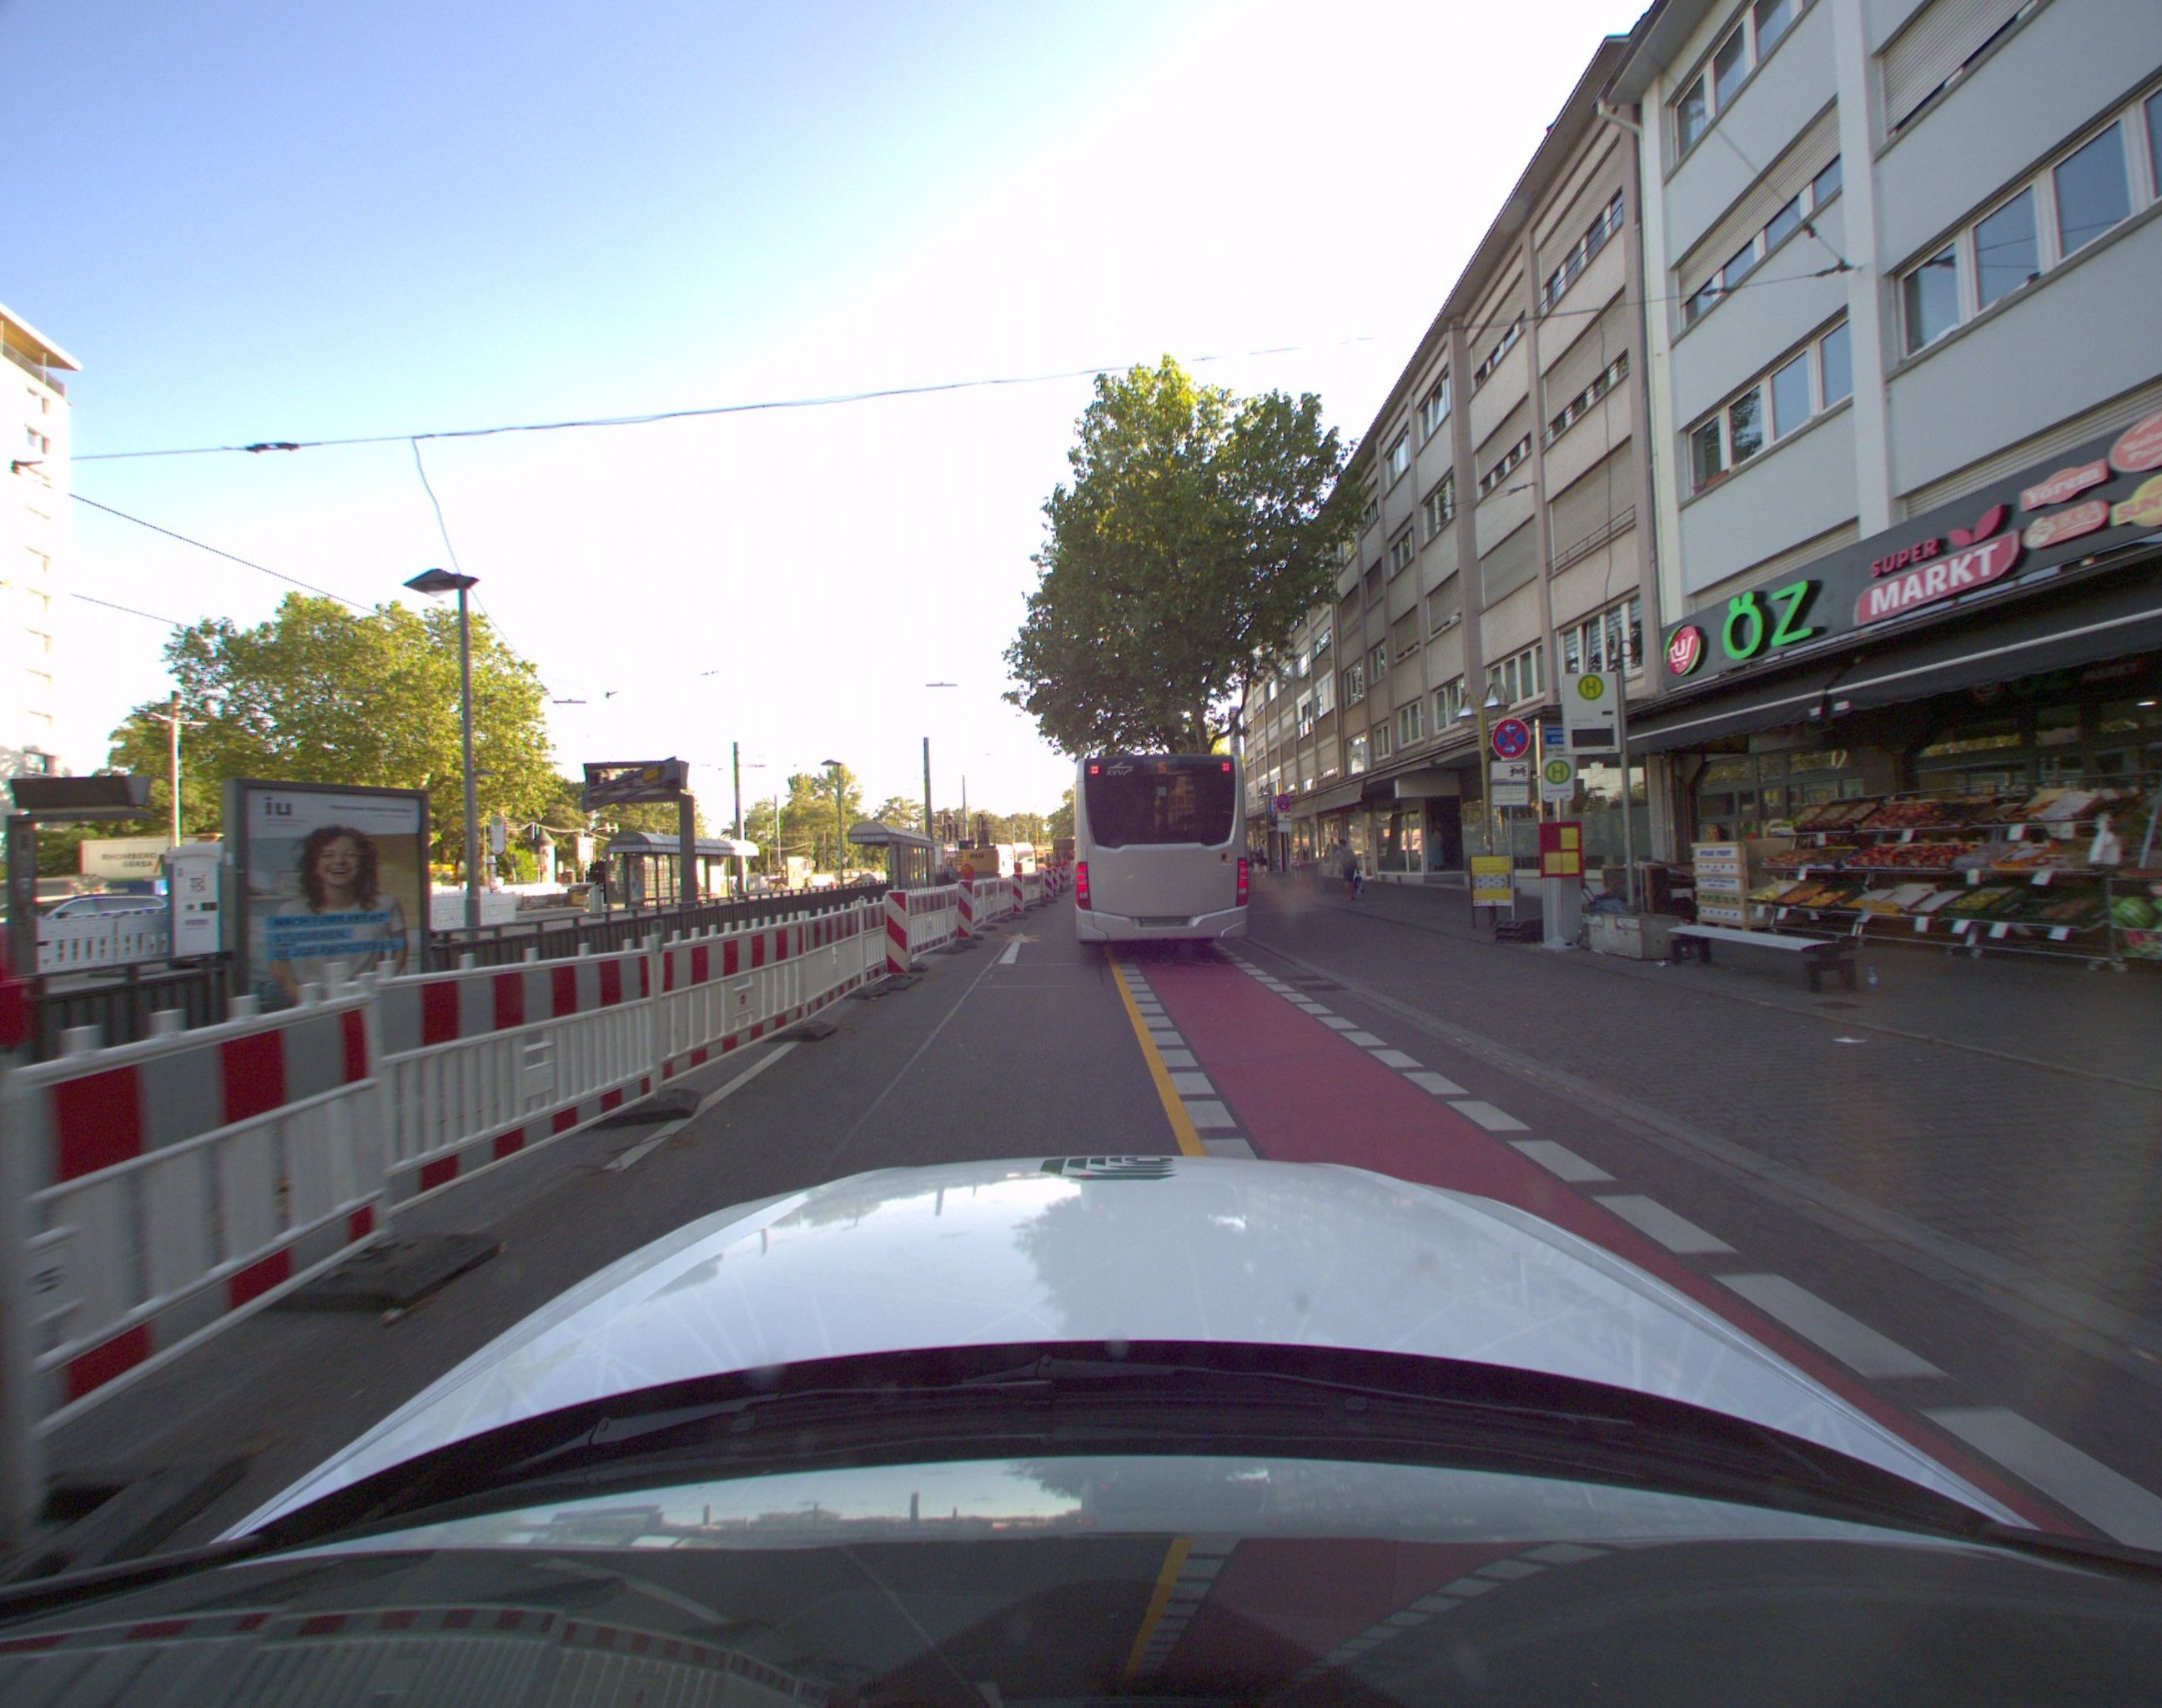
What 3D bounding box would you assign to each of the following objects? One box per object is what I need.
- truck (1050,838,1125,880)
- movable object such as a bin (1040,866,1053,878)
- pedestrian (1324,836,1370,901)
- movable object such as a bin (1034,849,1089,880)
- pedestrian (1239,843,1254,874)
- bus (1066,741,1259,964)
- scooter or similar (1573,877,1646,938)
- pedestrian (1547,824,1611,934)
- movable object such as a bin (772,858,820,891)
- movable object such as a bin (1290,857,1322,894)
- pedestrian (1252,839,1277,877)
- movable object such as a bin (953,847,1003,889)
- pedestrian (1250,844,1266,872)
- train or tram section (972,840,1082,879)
[{"bbox_3d":[0.727,0.367,73.739,2.785,3.541,9.038,-2,-1,28],"label":"truck"},{"bbox_3d":[-2.849,1.516,68.120,0.929,0.917,1.421,-2,-1,3],"label":"movable object such as a bin"},{"bbox_3d":[7.170,0.379,22.000,0.840,1.673,0.990,-4,-1,1],"label":"pedestrian"},{"bbox_3d":[-1.471,0.786,63.860,1.975,2.256,5.239,-1,0,28],"label":"movable object such as a bin"},{"bbox_3d":[9.441,0.272,46.587,0.581,1.708,0.679,-5,-1,1],"label":"pedestrian"},{"bbox_3d":[1.191,-0.010,16.865,2.724,3.139,10.702,0,0,0],"label":"bus"},{"bbox_3d":[7.838,0.775,12.100,0.573,0.844,0.733,-2,-1,0],"label":"scooter or similar"},{"bbox_3d":[7.790,0.391,12.757,0.641,1.673,0.557,-2,-1,10],"label":"pedestrian"},{"bbox_3d":[-24.223,1.671,69.387,2.142,2.639,4.602,-3,-1,3],"label":"movable object such as a bin"},{"bbox_3d":[7.177,0.671,26.018,0.671,1.075,1.228,-3,1,1],"label":"movable object such as a bin"},{"bbox_3d":[9.480,0.209,42.176,0.835,1.869,1.100,-7,-1,1],"label":"pedestrian"},{"bbox_3d":[-6.112,0.792,48.870,2.638,2.318,4.894,-2,0,-5],"label":"movable object such as a bin"},{"bbox_3d":[10.125,0.233,46.566,0.630,1.573,0.774,-5,0,1],"label":"pedestrian"},{"bbox_3d":[-5.008,0.431,80.660,2.822,3.533,13.482,-3,0,36],"label":"train or tram section"}]
